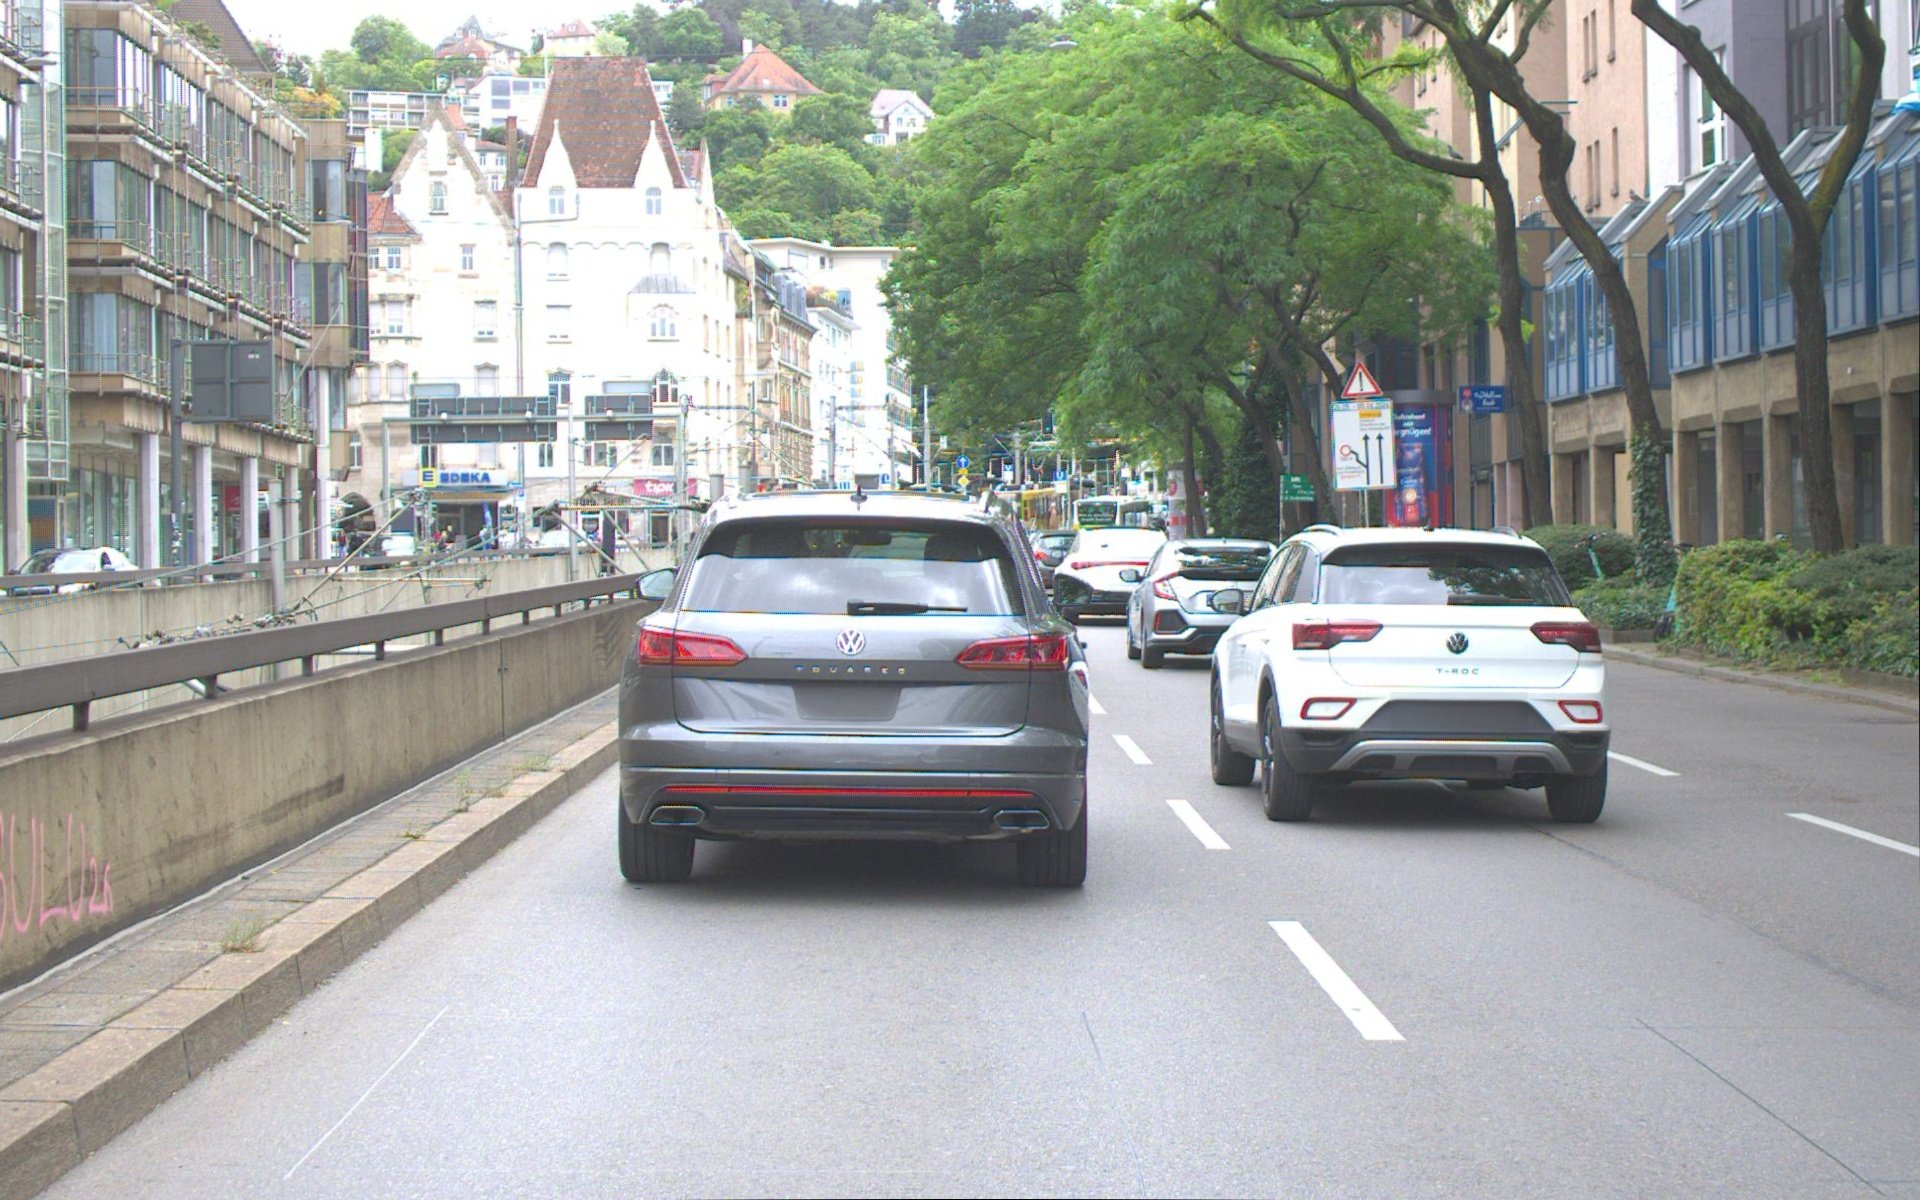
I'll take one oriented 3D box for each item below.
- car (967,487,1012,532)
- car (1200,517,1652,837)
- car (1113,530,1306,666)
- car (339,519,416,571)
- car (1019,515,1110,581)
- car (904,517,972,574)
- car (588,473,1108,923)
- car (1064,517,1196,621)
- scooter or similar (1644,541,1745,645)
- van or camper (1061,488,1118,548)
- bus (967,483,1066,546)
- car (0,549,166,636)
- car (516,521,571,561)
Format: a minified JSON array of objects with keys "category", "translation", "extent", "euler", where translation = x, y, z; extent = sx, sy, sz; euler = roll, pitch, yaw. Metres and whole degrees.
[{"category":"car","translation":[1.289,-3.911,149.256],"extent":[1.832,1.868,4.870],"euler":[-2,1,1]},{"category":"car","translation":[2.465,0.370,19.130],"extent":[1.797,1.540,3.936],"euler":[2,0,-2]},{"category":"car","translation":[2.724,-0.027,38.344],"extent":[1.833,1.427,4.147],"euler":[0,0,0]},{"category":"car","translation":[-20.521,-1.943,121.212],"extent":[1.993,1.761,4.281],"euler":[-1,1,0]},{"category":"car","translation":[2.270,-1.156,75.632],"extent":[1.832,1.358,3.767],"euler":[-2,1,0]},{"category":"car","translation":[-0.655,-1.556,97.909],"extent":[1.832,1.561,3.767],"euler":[-2,1,-1]},{"category":"car","translation":[-0.485,0.329,15.508],"extent":[1.970,1.690,4.225],"euler":[-2,1,-1]},{"category":"car","translation":[2.599,-0.493,53.332],"extent":[1.832,1.512,3.767],"euler":[-1,1,0]},{"category":"scooter or similar","translation":[8.646,-0.089,40.500],"extent":[1.108,1.177,0.427],"euler":[-2,1,10]},{"category":"van or camper","translation":[6.946,-4.413,185.439],"extent":[2.627,3.167,5.804],"euler":[-1,1,-2]},{"category":"bus","translation":[3.435,-5.019,201.985],"extent":[3.851,3.520,17.241],"euler":[-1,1,7]},{"category":"car","translation":[-17.267,-0.174,67.592],"extent":[1.993,1.580,4.887],"euler":[-1,1,2]},{"category":"car","translation":[-18.908,-2.696,156.157],"extent":[1.993,1.761,4.281],"euler":[-1,1,0]}]
